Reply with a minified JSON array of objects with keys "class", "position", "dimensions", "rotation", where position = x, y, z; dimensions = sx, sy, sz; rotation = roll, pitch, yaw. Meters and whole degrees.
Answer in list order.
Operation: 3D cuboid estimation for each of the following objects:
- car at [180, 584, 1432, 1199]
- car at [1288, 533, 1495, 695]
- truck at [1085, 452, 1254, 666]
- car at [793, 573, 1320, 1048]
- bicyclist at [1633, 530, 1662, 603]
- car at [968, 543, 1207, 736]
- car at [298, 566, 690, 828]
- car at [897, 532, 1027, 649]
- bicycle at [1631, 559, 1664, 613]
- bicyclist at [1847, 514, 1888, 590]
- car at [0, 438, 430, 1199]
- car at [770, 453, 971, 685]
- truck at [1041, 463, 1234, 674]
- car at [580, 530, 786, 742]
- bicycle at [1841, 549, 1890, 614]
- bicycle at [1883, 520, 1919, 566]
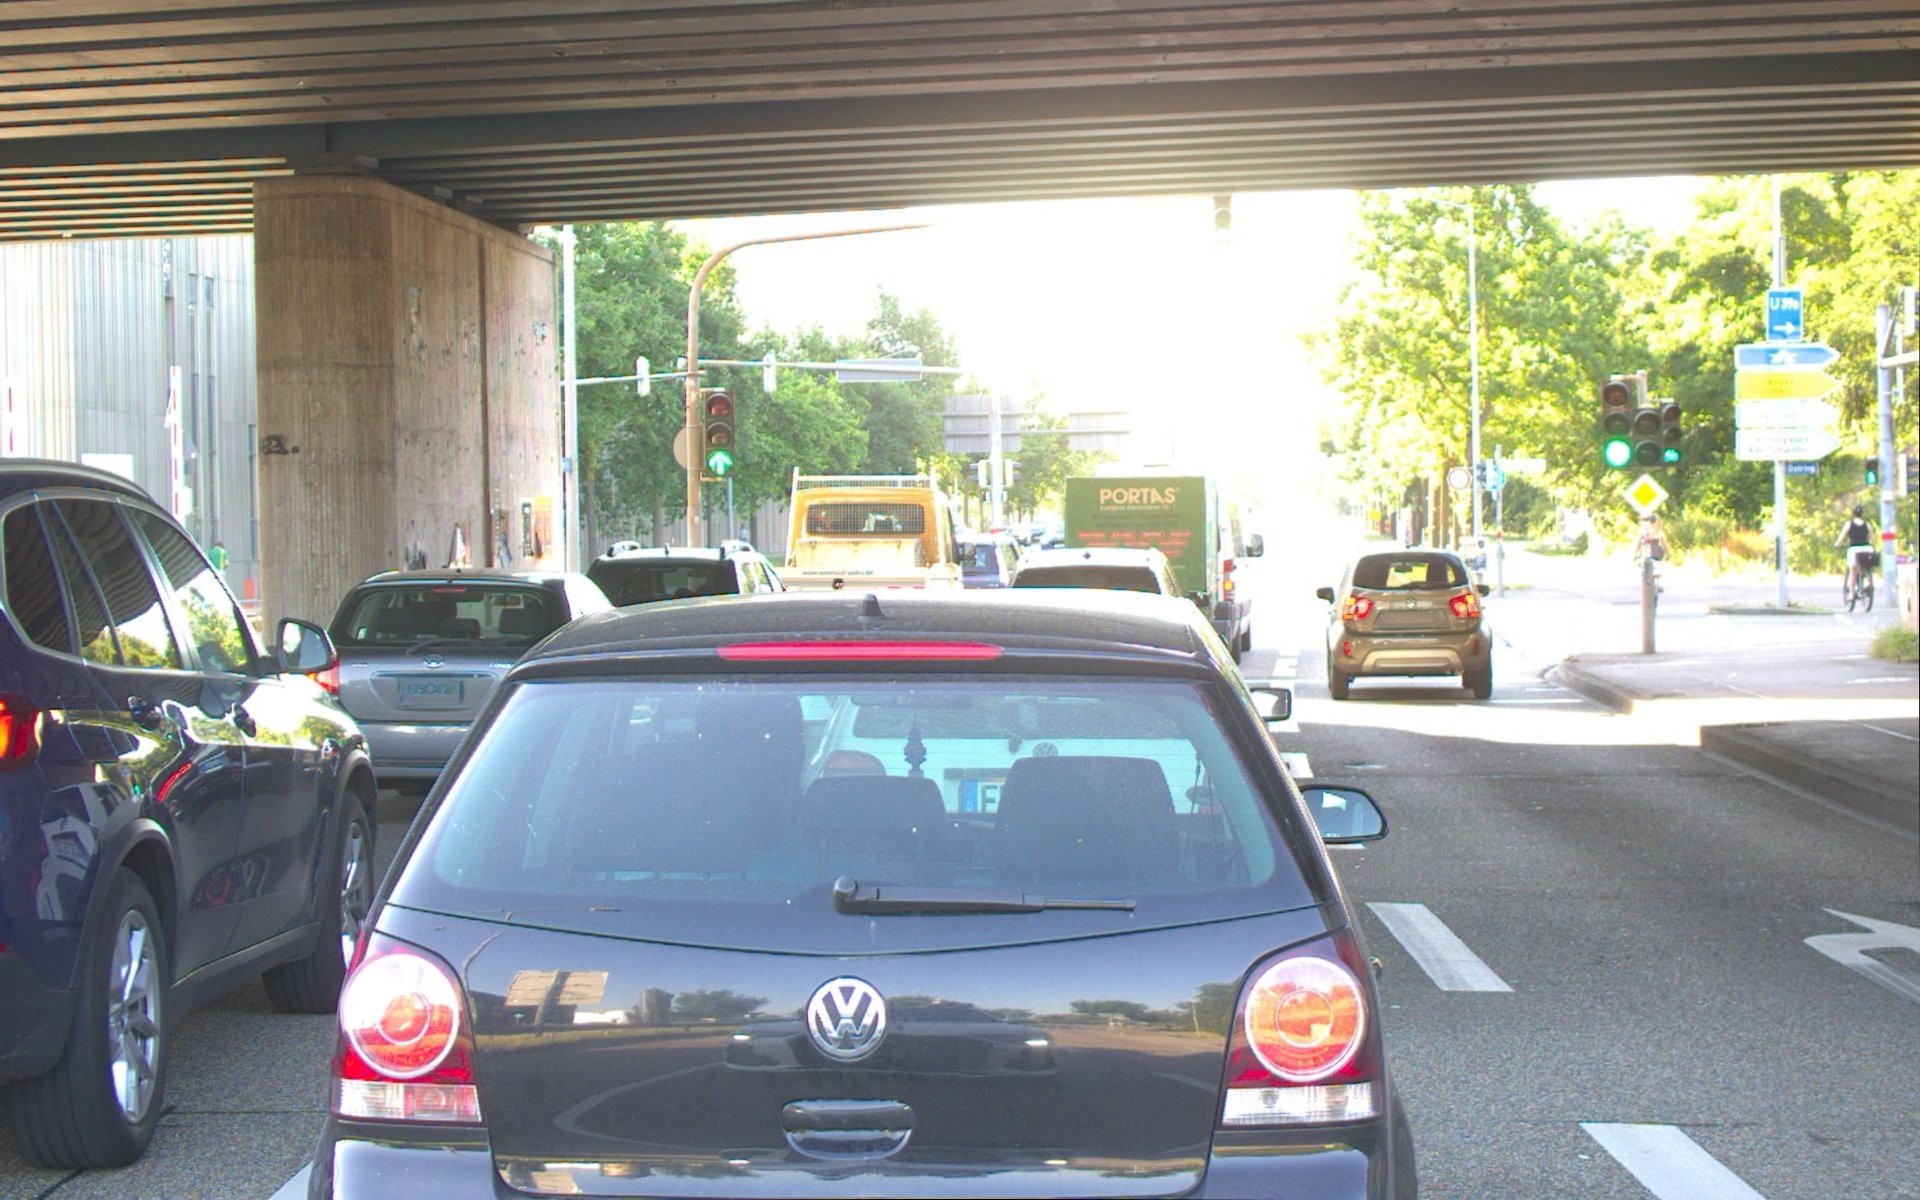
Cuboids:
[{"class":"car","position":[-0.215,0.695,6.310],"dimensions":[1.616,1.405,3.683],"rotation":[1,1,0]},{"class":"car","position":[4.569,0.121,36.882],"dimensions":[1.737,1.625,4.062],"rotation":[1,1,1]},{"class":"truck","position":[2.793,-0.532,45.131],"dimensions":[1.996,2.659,3.999],"rotation":[1,0,6]},{"class":"car","position":[0.319,0.622,12.455],"dimensions":[1.578,1.408,4.062],"rotation":[1,1,1]},{"class":"bicyclist","position":[11.778,-0.577,58.927],"dimensions":[0.427,1.229,0.460],"rotation":[-1,0,6]},{"class":"car","position":[1.184,0.303,30.199],"dimensions":[1.796,1.553,3.999],"rotation":[1,1,6]},{"class":"car","position":[-2.689,0.512,20.576],"dimensions":[1.617,1.405,3.682],"rotation":[1,1,4]},{"class":"car","position":[0.065,-0.154,51.696],"dimensions":[1.617,1.673,3.682],"rotation":[1,1,5]},{"class":"bicycle","position":[11.770,-0.243,58.872],"dimensions":[0.437,0.911,1.026],"rotation":[-2,0,6]},{"class":"bicyclist","position":[15.768,-0.827,59.766],"dimensions":[0.544,1.311,0.835],"rotation":[1,0,6]},{"class":"car","position":[-2.913,0.486,9.592],"dimensions":[1.994,1.728,4.532],"rotation":[1,1,2]},{"class":"car","position":[-0.998,-0.374,41.122],"dimensions":[2.137,2.567,5.087],"rotation":[1,1,1]},{"class":"truck","position":[2.118,-0.366,40.071],"dimensions":[1.996,2.307,3.999],"rotation":[1,1,6]},{"class":"car","position":[-2.357,0.268,29.292],"dimensions":[1.616,1.673,3.684],"rotation":[1,1,-5]},{"class":"bicycle","position":[15.756,-0.331,59.836],"dimensions":[0.565,1.108,1.621],"rotation":[1,0,6]},{"class":"bicycle","position":[21.599,-1.283,77.100],"dimensions":[1.664,0.988,0.577],"rotation":[-1,3,23]}]
